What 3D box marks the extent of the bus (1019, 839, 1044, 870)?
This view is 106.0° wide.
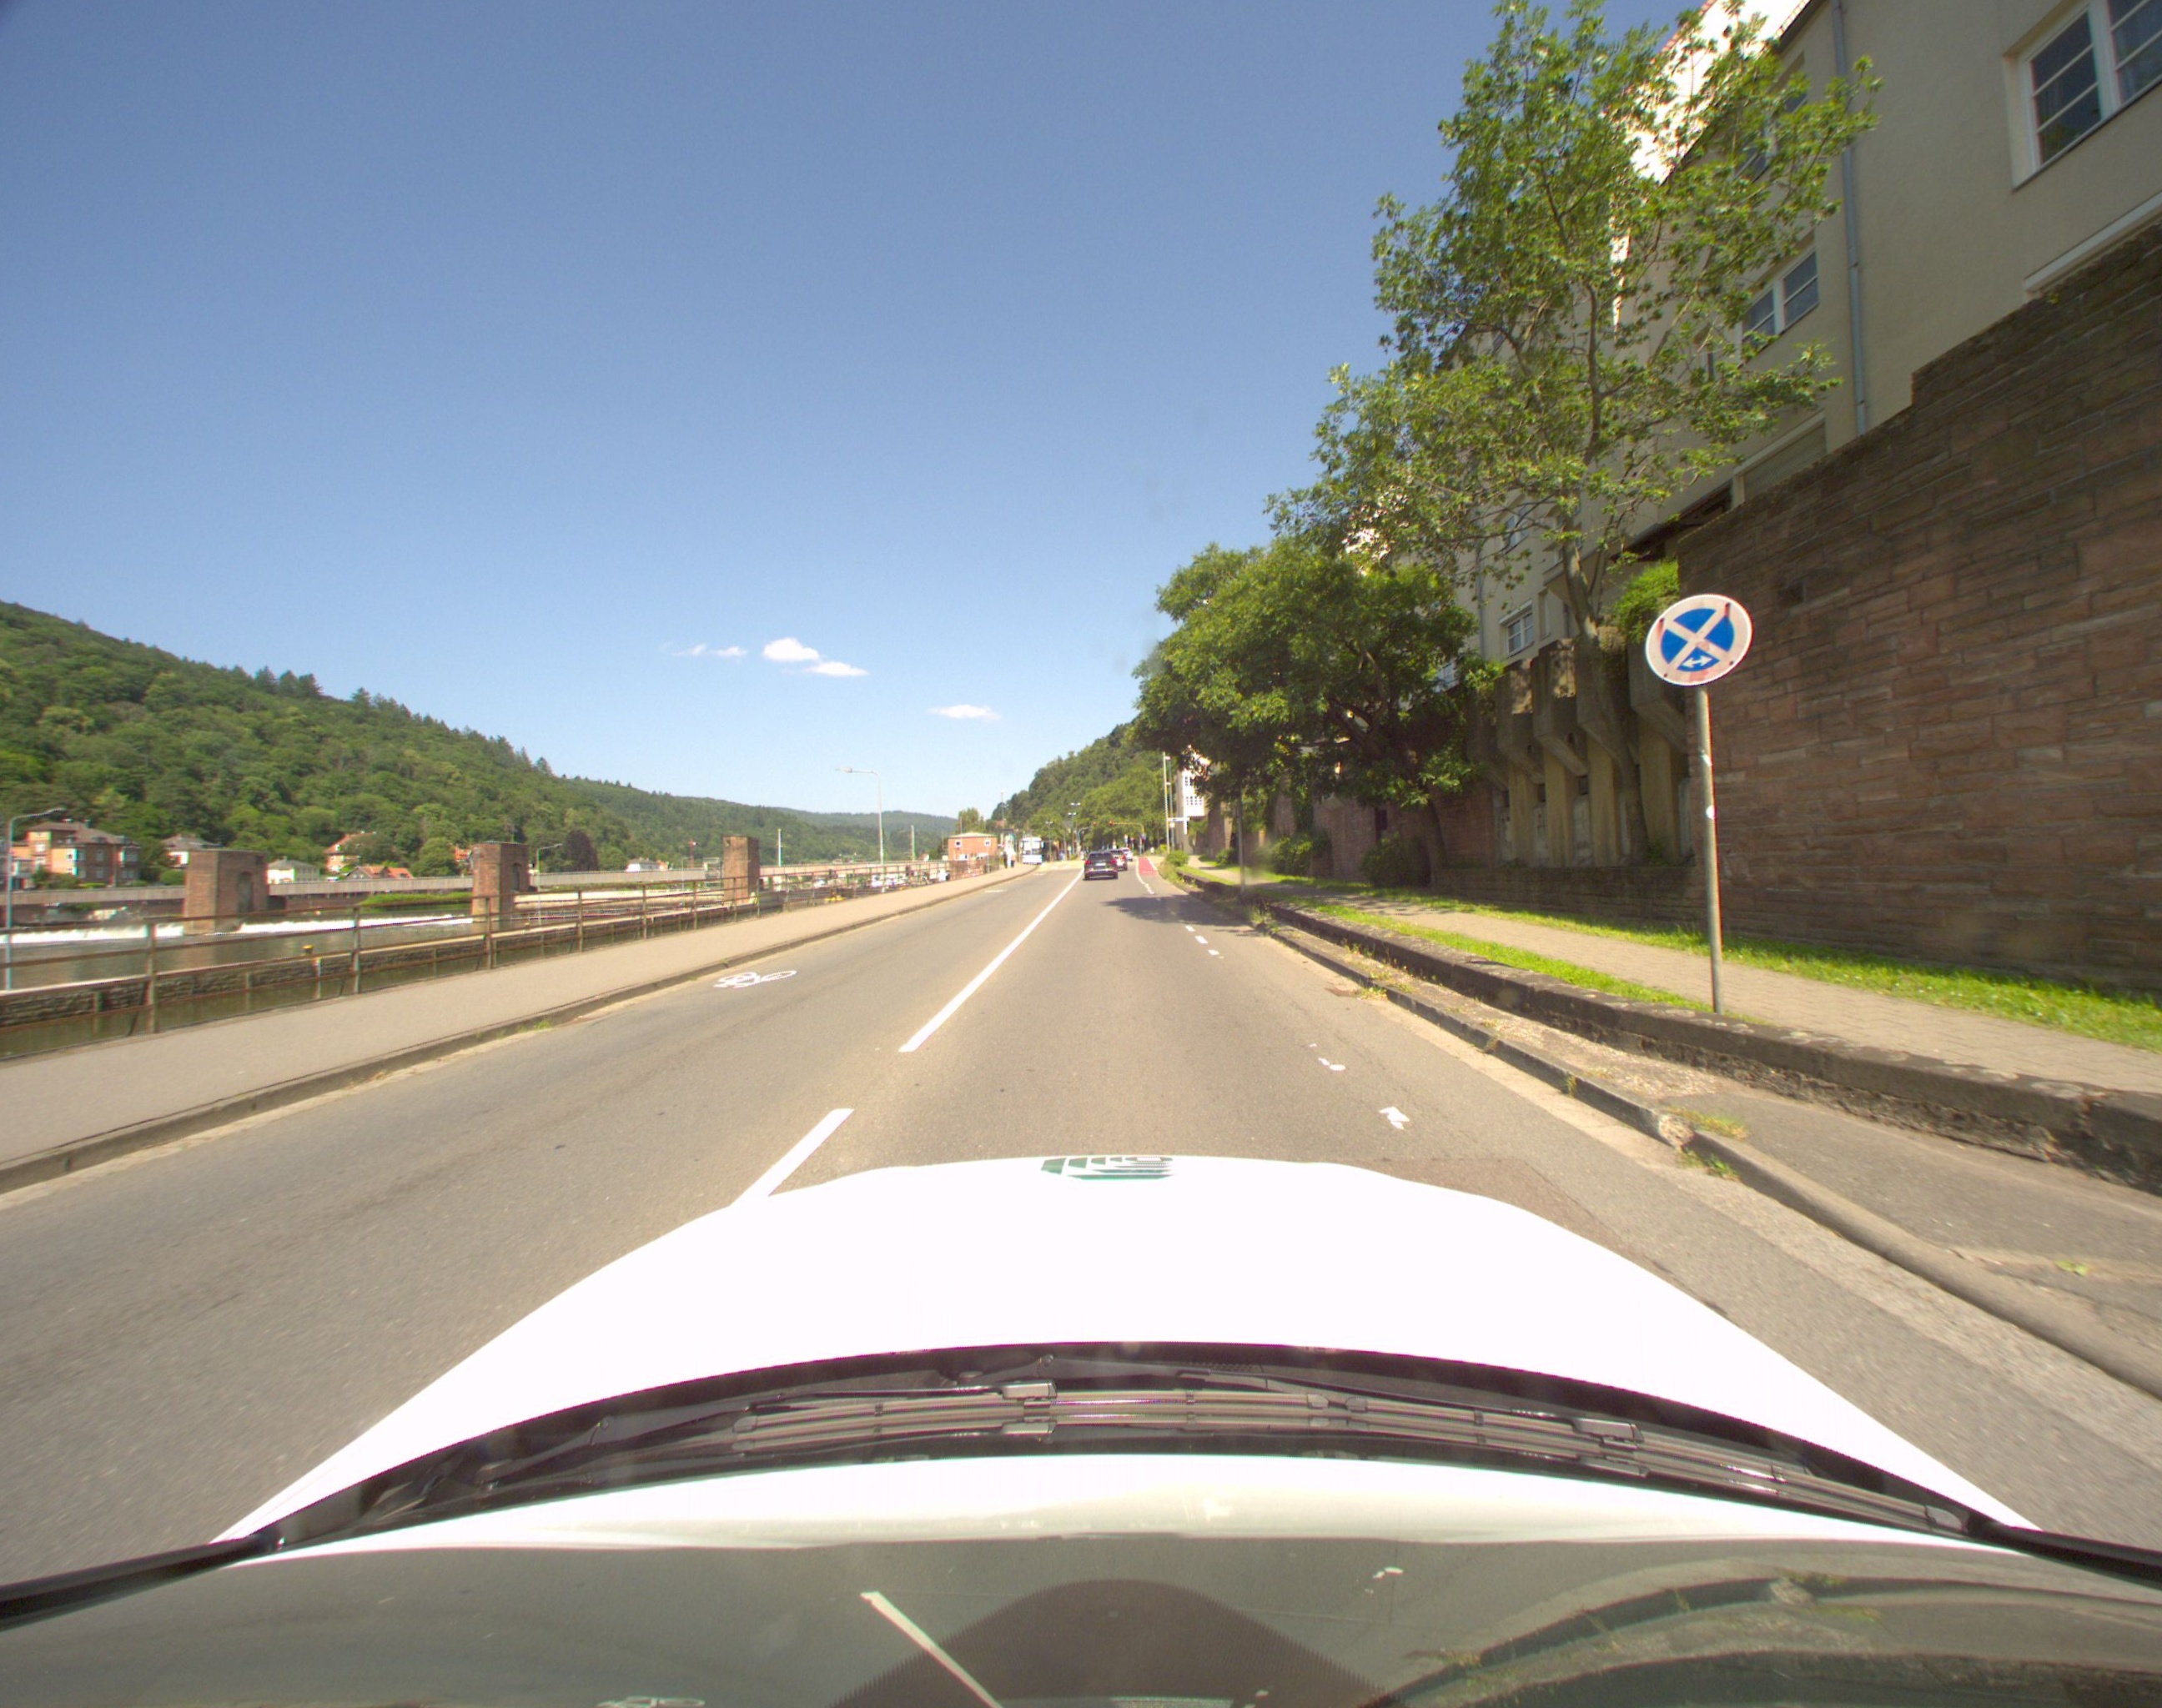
[{"bbox_3d":[-6.678,0.093,110.704,2.950,3.800,13.227,-3,0,-3],"label":"bus"}]

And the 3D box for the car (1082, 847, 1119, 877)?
[{"bbox_3d":[1.080,0.417,44.311,1.862,1.514,4.152,-2,0,2],"label":"car"}]

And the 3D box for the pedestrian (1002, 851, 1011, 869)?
[{"bbox_3d":[-7.136,0.573,77.980,0.680,1.709,0.773,-3,0,2],"label":"pedestrian"}]

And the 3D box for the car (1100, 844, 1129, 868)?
[{"bbox_3d":[2.305,0.135,56.773,1.881,1.521,4.307,-2,0,2],"label":"car"}]

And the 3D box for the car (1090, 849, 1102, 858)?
[{"bbox_3d":[2.534,-0.150,136.073,1.861,1.358,3.999,-4,0,-1],"label":"car"}]

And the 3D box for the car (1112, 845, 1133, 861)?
[{"bbox_3d":[4.138,-0.108,81.828,1.986,1.533,4.860,-2,0,2],"label":"car"}]

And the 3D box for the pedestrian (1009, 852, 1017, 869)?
[{"bbox_3d":[-6.698,0.621,80.149,0.700,1.621,0.816,-3,0,-1],"label":"pedestrian"}]
